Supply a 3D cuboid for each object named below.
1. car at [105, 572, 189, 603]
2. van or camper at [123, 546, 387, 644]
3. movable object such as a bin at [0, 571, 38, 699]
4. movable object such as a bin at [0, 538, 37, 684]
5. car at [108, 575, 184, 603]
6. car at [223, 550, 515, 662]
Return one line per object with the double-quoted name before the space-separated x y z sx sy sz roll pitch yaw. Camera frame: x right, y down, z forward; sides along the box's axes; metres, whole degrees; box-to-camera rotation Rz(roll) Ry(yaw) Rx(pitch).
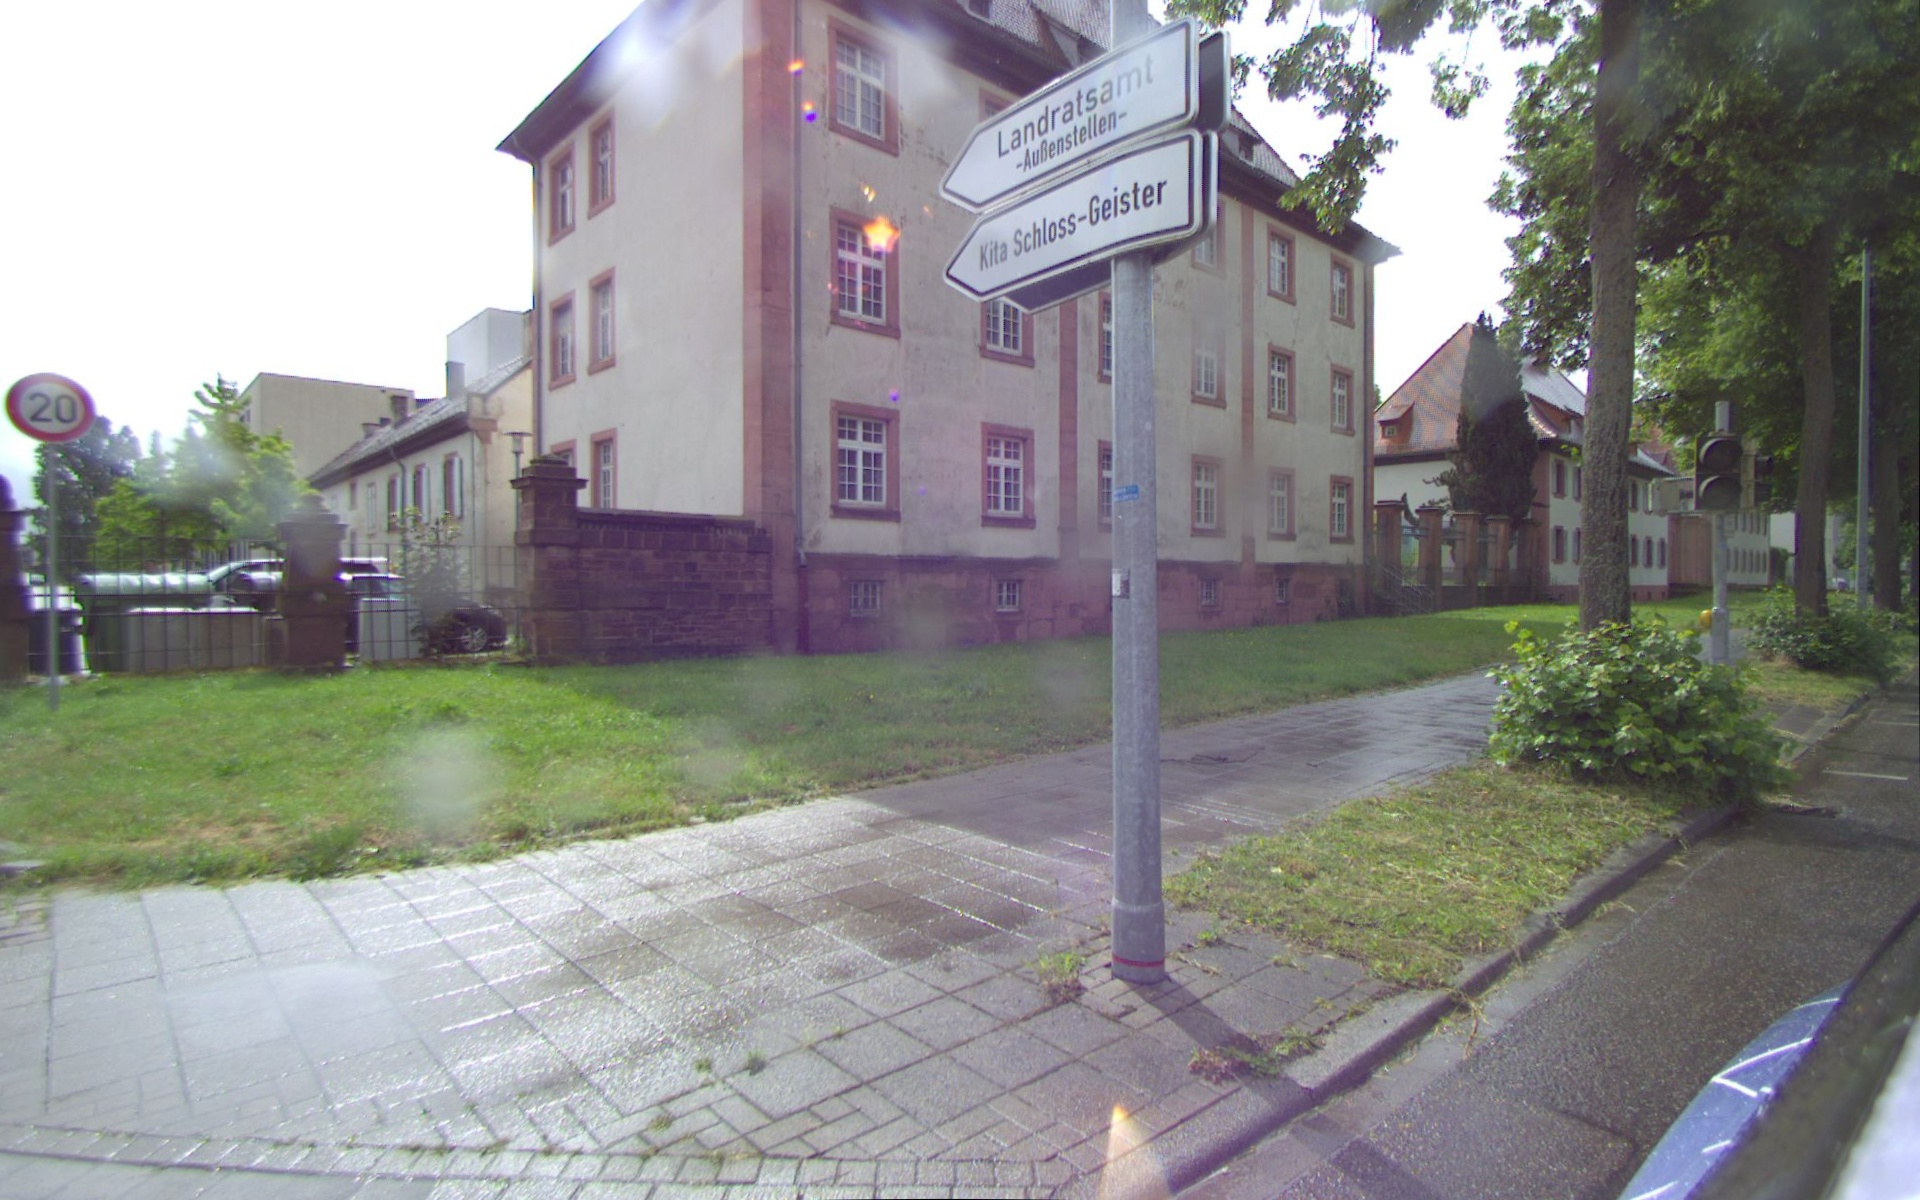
"car" -43.216 -0.688 53.828 3.421 1.489 1.684 -3 0 -41
"van or camper" -16.988 -0.178 24.570 5.096 2.142 1.792 -1 3 -42
"movable object such as a bin" -11.850 0.397 11.958 1.366 1.475 1.108 -1 2 -41
"movable object such as a bin" -10.126 0.098 10.284 1.078 1.475 0.801 -1 2 -41
"car" -47.999 -0.652 59.726 3.421 1.489 1.684 -3 0 -41
"car" -10.262 0.057 17.747 4.170 1.744 1.713 -1 0 -41
